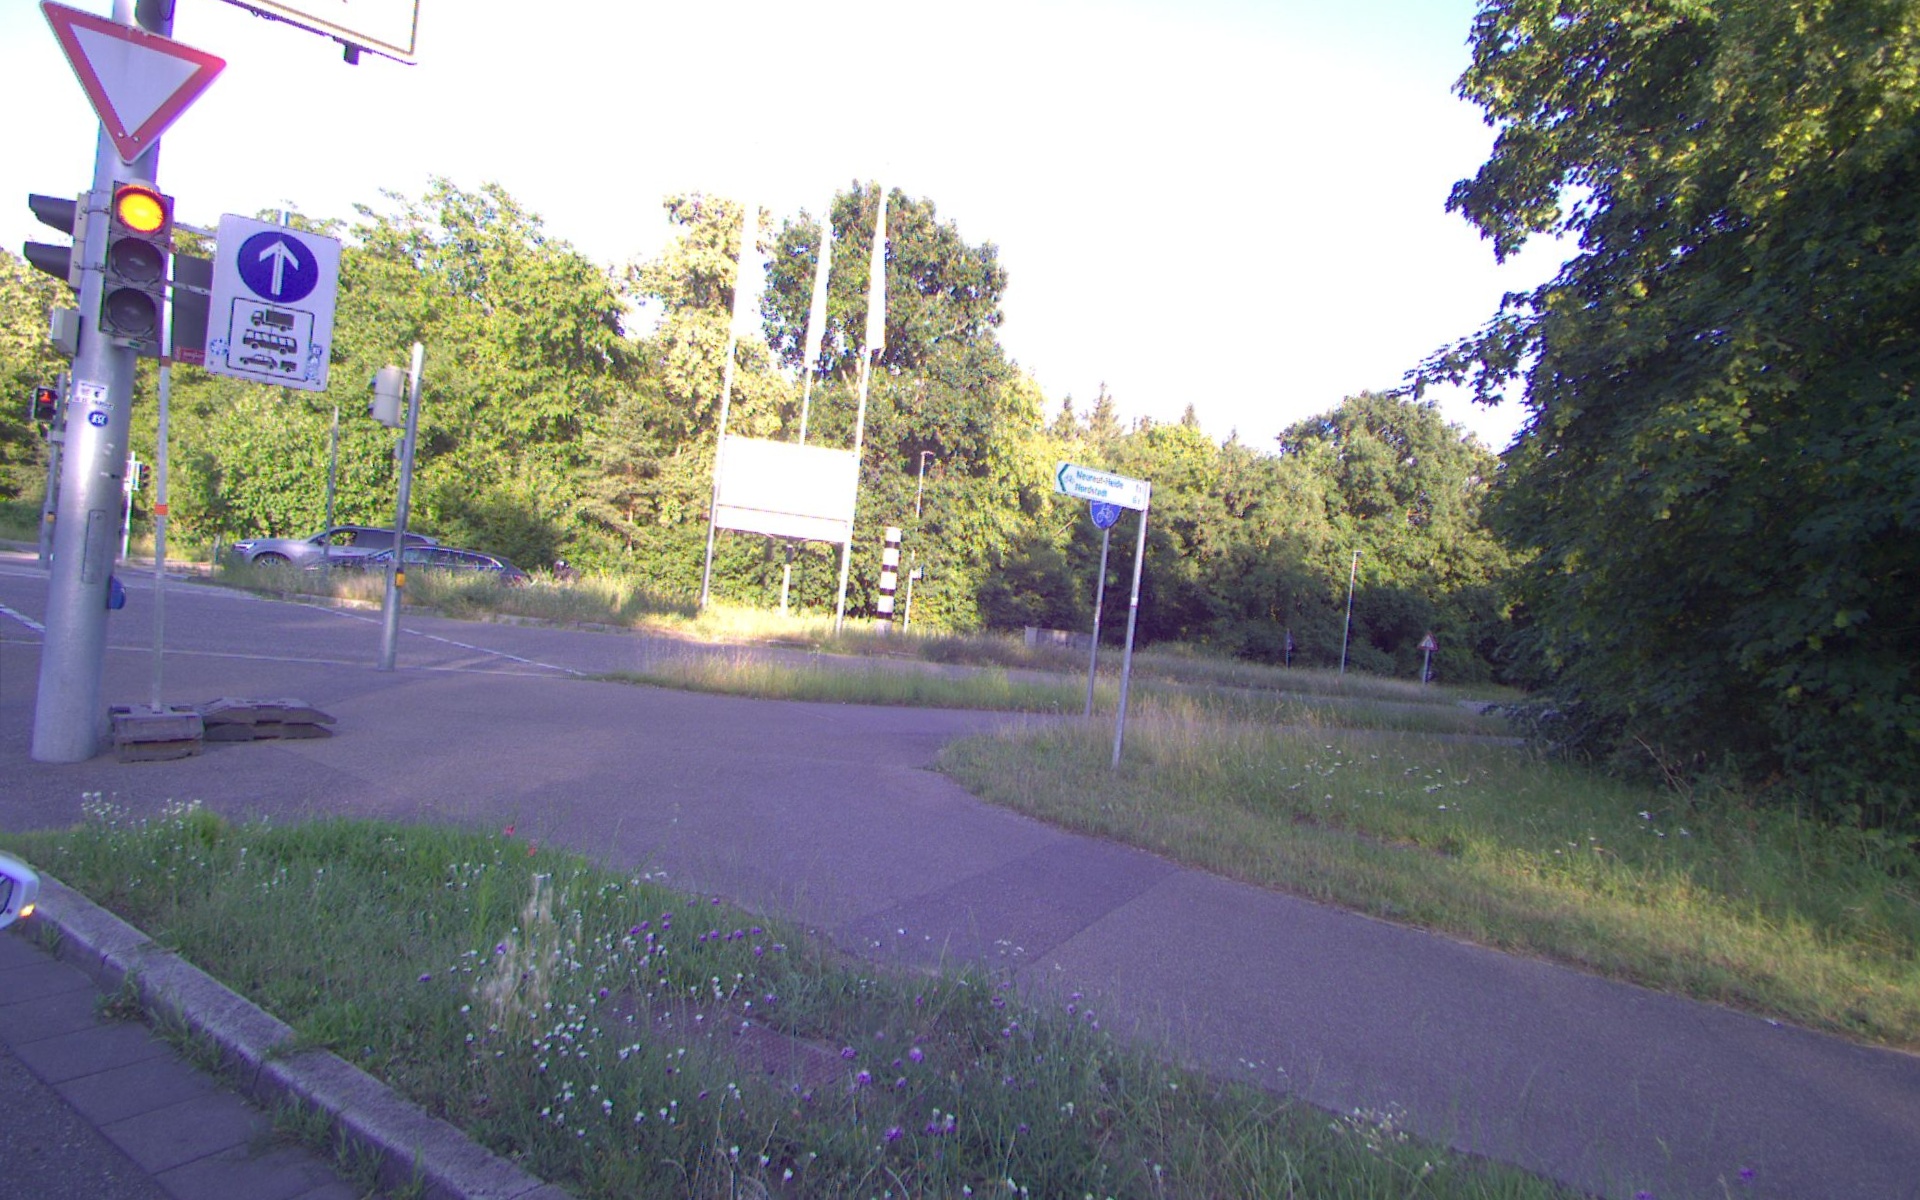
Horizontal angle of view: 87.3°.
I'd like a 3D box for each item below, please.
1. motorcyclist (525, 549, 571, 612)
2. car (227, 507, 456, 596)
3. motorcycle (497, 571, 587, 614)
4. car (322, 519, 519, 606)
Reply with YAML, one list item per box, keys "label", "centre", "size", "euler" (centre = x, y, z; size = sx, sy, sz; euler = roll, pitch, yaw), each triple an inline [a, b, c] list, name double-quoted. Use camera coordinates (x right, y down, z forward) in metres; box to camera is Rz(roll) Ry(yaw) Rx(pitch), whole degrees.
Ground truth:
- label: "motorcyclist"
  centre: [-11.394, -0.545, 27.828]
  size: [0.881, 1.614, 0.648]
  euler: [6, 0, -37]
- label: "car"
  centre: [-15.920, -1.207, 26.004]
  size: [4.790, 1.618, 1.980]
  euler: [7, 0, -37]
- label: "motorcycle"
  centre: [-11.533, -0.212, 27.764]
  size: [2.133, 0.921, 0.655]
  euler: [7, 0, -37]
- label: "car"
  centre: [-12.747, -0.860, 23.850]
  size: [3.840, 1.507, 1.754]
  euler: [7, -1, -36]
